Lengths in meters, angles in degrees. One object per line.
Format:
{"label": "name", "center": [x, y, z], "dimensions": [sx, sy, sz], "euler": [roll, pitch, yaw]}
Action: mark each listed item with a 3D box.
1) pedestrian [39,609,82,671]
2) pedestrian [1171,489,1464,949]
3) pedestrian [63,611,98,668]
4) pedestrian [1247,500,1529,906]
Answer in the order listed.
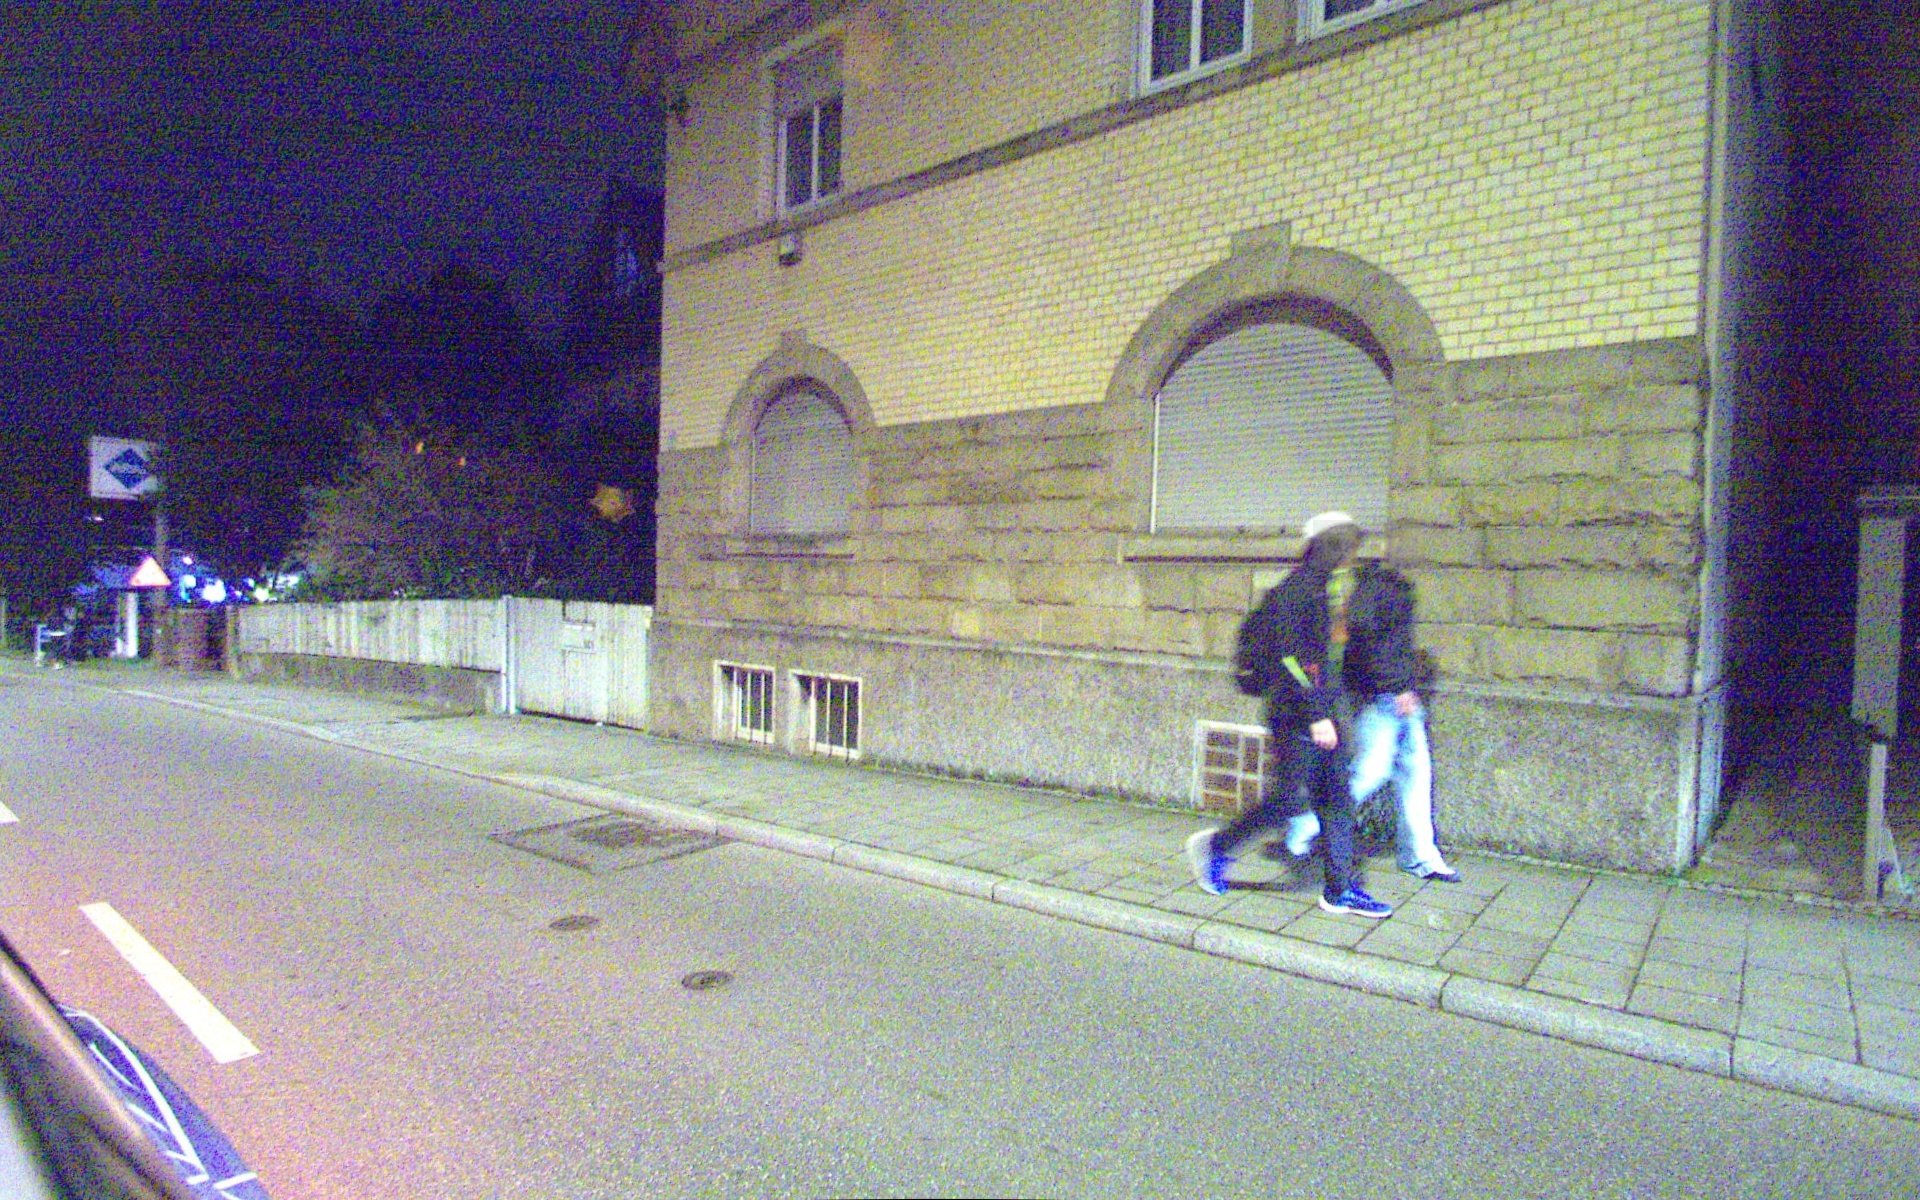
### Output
{"label": "pedestrian", "center": [-25.187, 1.116, 28.329], "dimensions": [1.102, 1.684, 0.734], "euler": [-1, -1, 40]}
{"label": "pedestrian", "center": [1.567, 0.459, 4.465], "dimensions": [1.028, 1.758, 0.668], "euler": [-1, -1, 40]}
{"label": "pedestrian", "center": [-27.530, 1.232, 31.673], "dimensions": [0.865, 1.739, 0.662], "euler": [-1, -1, 38]}
{"label": "pedestrian", "center": [2.114, 0.450, 5.023], "dimensions": [1.102, 1.758, 0.734], "euler": [-1, -1, 40]}
